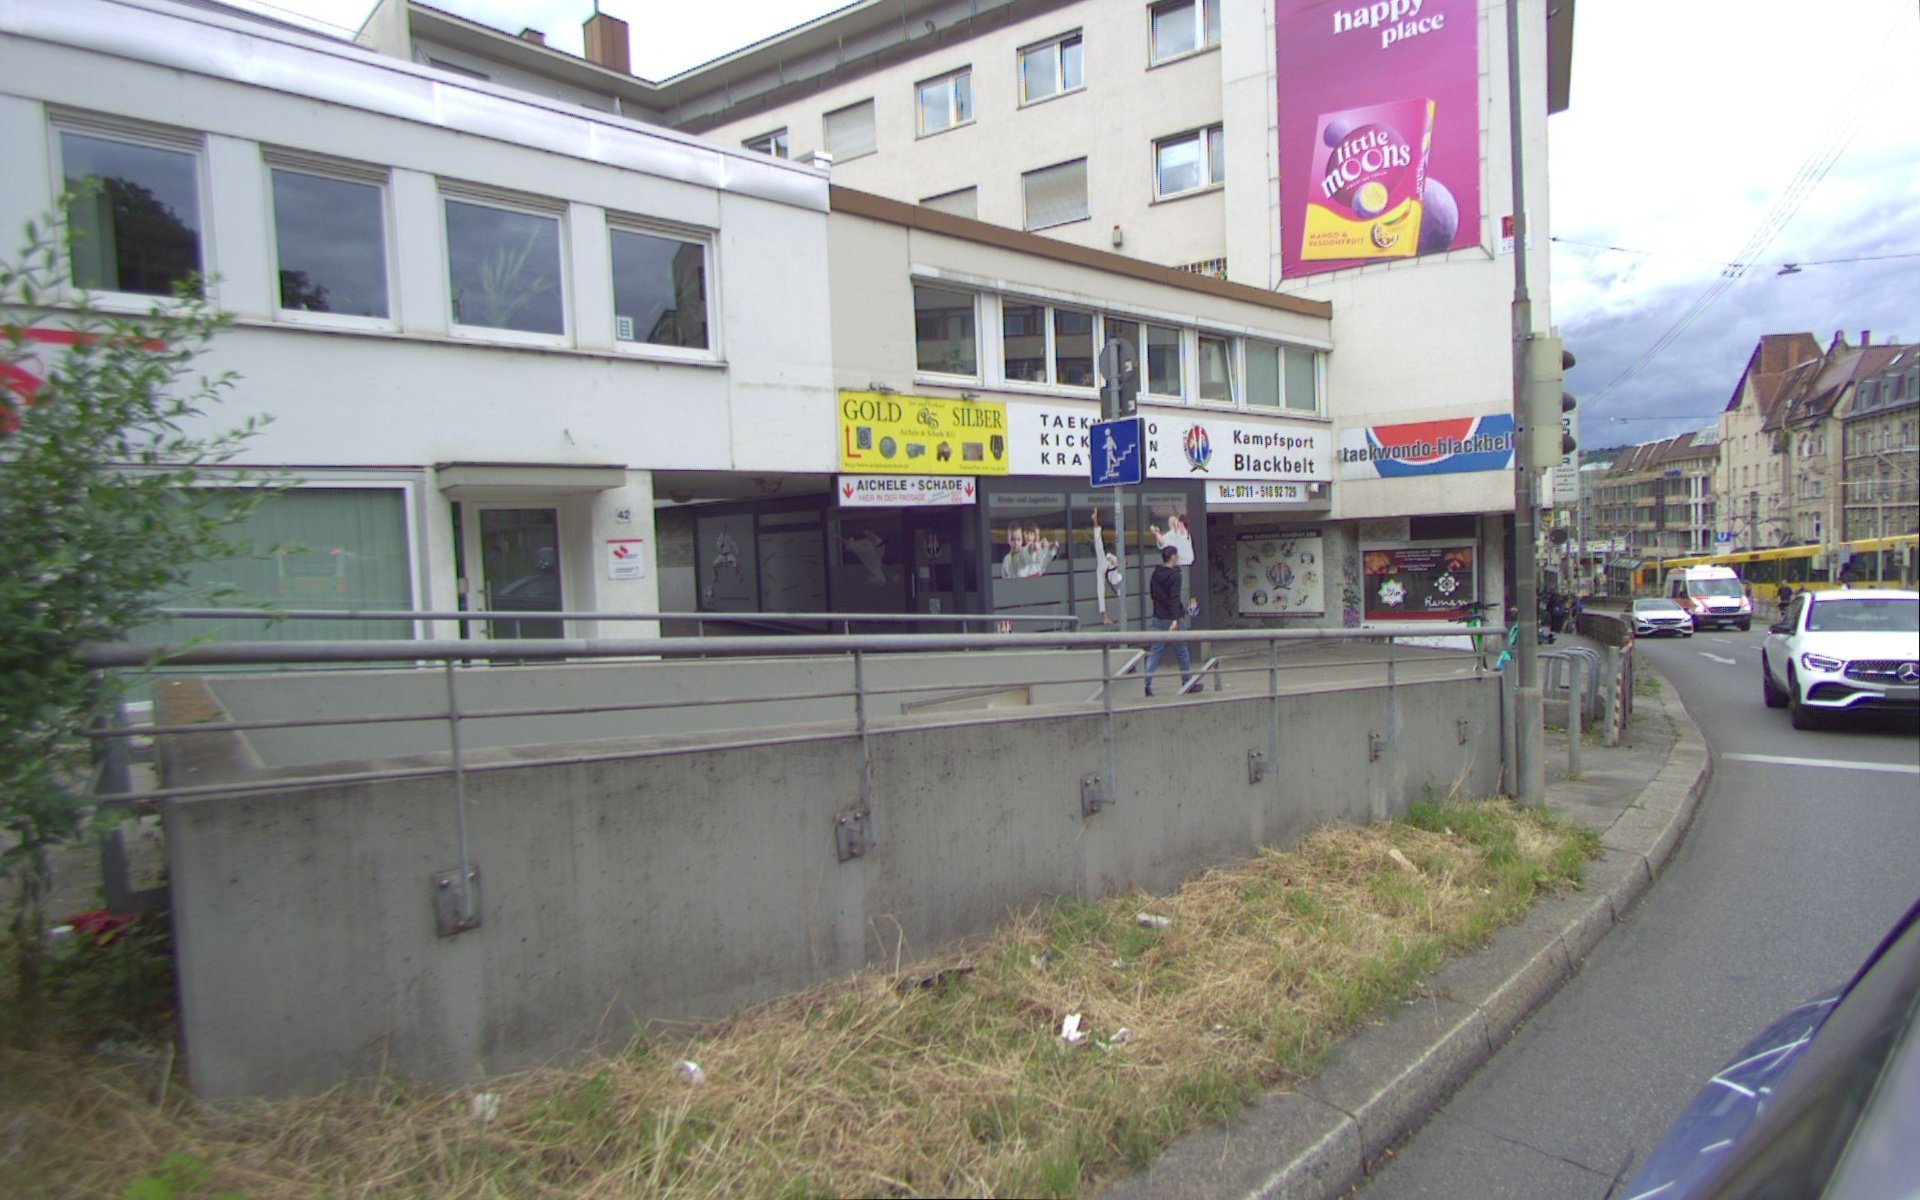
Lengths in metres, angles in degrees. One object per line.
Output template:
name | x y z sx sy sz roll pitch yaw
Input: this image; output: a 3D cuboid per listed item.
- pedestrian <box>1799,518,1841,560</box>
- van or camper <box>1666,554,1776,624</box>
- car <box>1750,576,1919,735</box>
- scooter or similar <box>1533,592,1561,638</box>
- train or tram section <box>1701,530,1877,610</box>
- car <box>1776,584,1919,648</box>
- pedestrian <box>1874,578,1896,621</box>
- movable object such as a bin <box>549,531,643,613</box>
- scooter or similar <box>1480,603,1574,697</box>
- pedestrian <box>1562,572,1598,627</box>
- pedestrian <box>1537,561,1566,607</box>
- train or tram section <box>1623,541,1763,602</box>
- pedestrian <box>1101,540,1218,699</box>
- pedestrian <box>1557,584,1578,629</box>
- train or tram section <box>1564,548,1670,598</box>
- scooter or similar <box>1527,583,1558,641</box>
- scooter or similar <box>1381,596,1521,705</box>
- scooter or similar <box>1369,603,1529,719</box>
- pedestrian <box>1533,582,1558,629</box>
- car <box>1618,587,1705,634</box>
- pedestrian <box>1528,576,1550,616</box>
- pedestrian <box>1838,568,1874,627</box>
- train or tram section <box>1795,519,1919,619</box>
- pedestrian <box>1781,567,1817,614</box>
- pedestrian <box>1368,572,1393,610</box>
pedestrian | 36.623 -2.604 43.118 1.108 1.699 1.034 -1 5 24
van or camper | 31.243 -0.451 41.791 2.186 2.590 6.320 -3 0 25
car | 11.515 0.560 12.702 1.921 1.652 4.720 -2 0 31
scooter or similar | 16.609 0.421 28.618 0.627 1.265 1.318 -1 0 31
train or tram section | 43.983 -1.580 54.454 2.897 3.603 14.131 -3 0 21
car | 23.274 0.367 26.422 1.877 1.494 4.494 -2 0 24
pedestrian | 33.283 -0.016 36.407 0.576 1.481 0.666 1 4 43
movable object such as a bin | -7.199 -0.577 20.031 1.239 1.473 1.332 7 6 43
scooter or similar | 7.417 0.648 13.254 0.992 1.197 0.376 -1 0 1
pedestrian | 25.171 -0.041 41.095 0.942 2.086 0.771 9 4 28
pedestrian | 24.841 -0.666 42.533 0.733 1.816 0.648 -11 -5 28
train or tram section | 48.626 -1.751 67.827 2.851 3.485 14.154 -4 -1 16
pedestrian | 2.432 0.198 12.330 1.129 1.833 0.836 -1 2 -36
pedestrian | 23.571 0.241 39.287 0.558 1.672 0.585 5 2 28
train or tram section | 52.438 -2.025 81.327 2.850 3.462 14.158 -4 -1 16
scooter or similar | 15.397 0.321 26.735 0.664 1.494 1.165 -1 0 31
scooter or similar | 5.957 0.602 12.319 1.418 1.270 0.557 1 0 1
scooter or similar | 5.253 0.639 10.922 1.418 1.197 0.583 -1 0 1
pedestrian | 23.519 0.220 40.664 0.723 1.829 0.647 6 3 30
car | 25.915 0.355 37.516 1.650 1.549 3.972 -4 -1 21
pedestrian | 26.571 -0.181 46.481 0.715 1.808 0.876 -3 -1 26
pedestrian | 33.379 -0.095 37.686 0.966 2.091 1.017 0 3 43
train or tram section | 38.736 -1.256 41.378 2.857 3.710 14.124 -2 0 22
pedestrian | 37.481 -0.421 45.235 0.922 1.993 1.224 -1 3 24
pedestrian | 11.232 -0.237 27.031 0.505 0.991 0.489 -1 -1 35
